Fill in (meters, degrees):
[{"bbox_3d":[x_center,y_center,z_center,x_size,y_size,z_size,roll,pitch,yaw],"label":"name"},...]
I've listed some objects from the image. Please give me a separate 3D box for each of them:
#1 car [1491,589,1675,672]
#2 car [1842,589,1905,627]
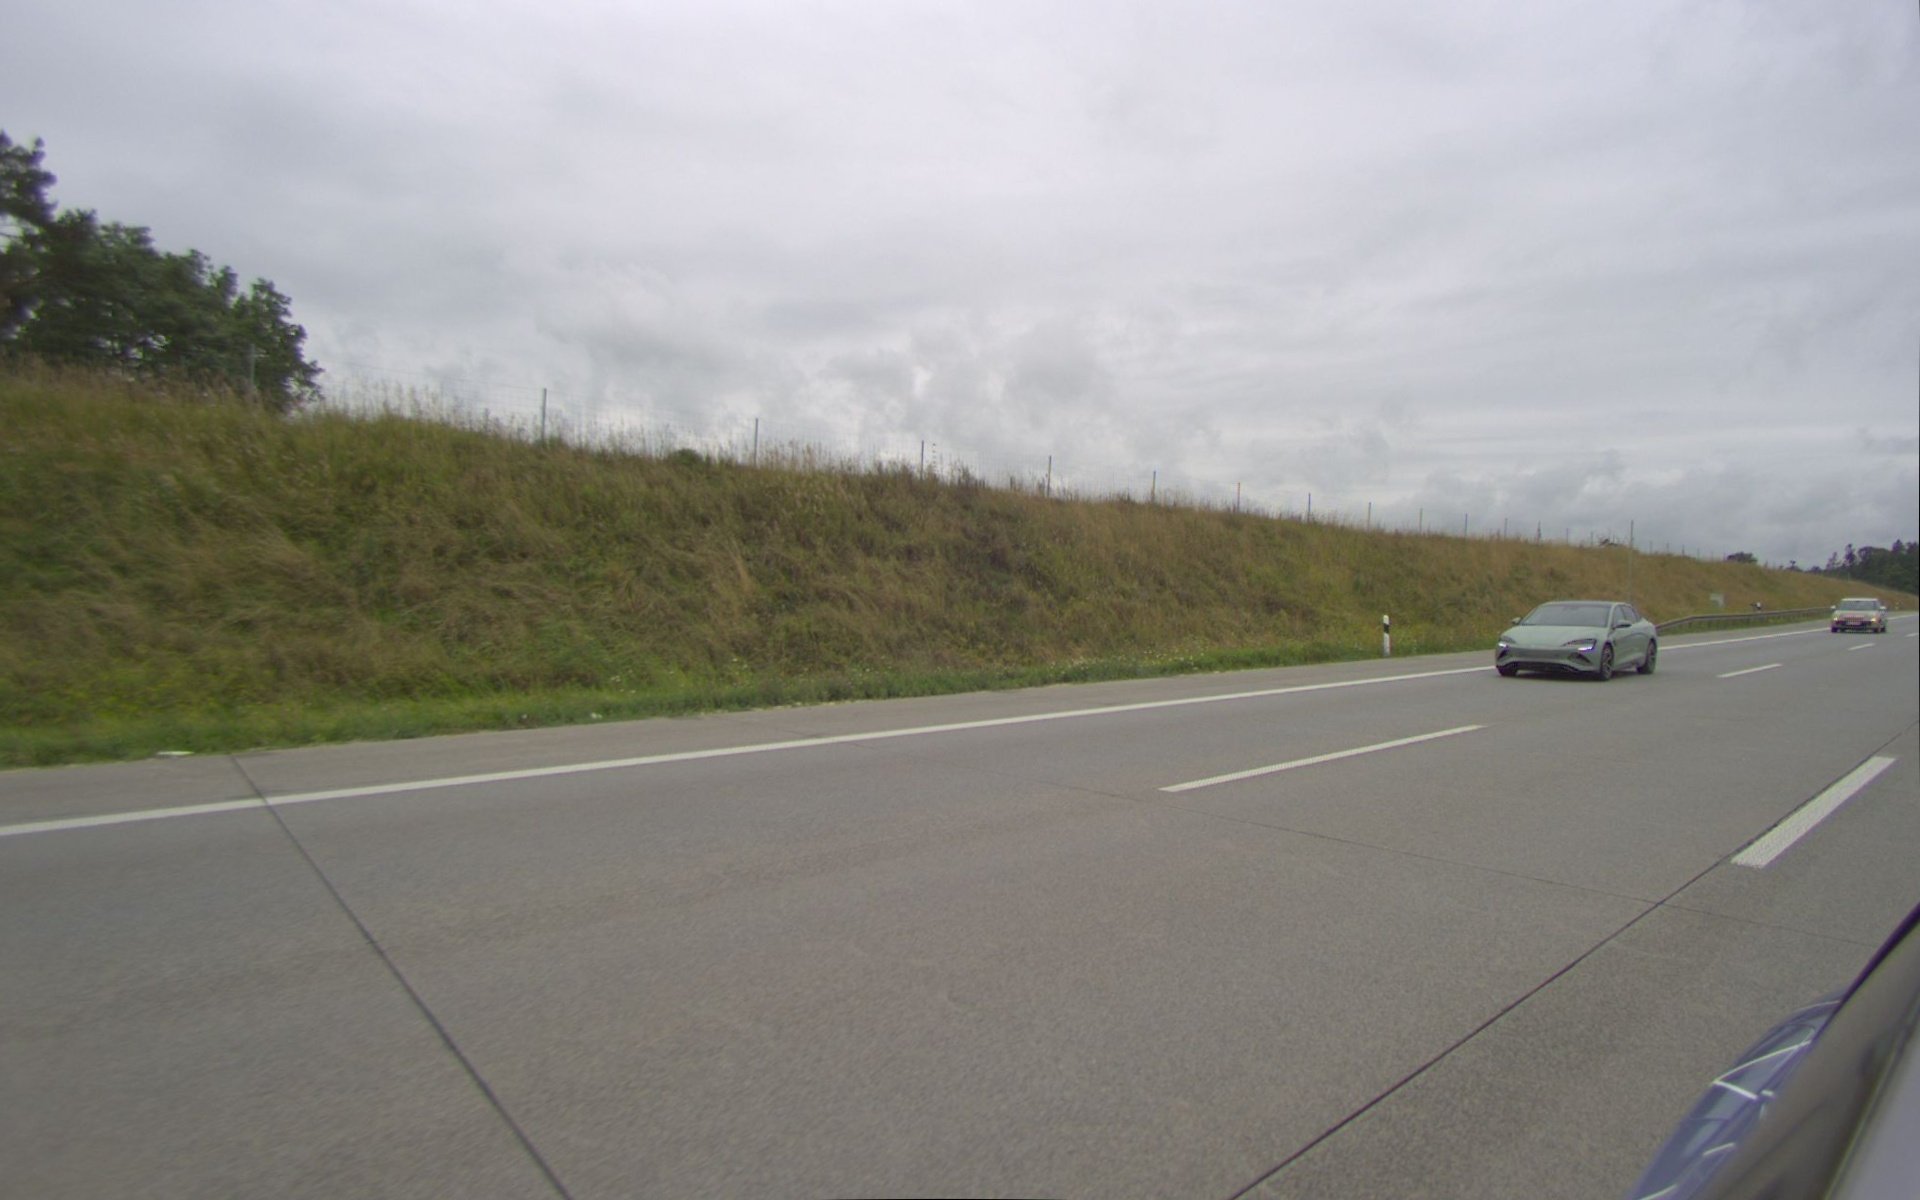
[{"bbox_3d":[12.516,0.588,20.202,4.665,1.464,2.016,1,-1,-44],"label":"car"},{"bbox_3d":[43.499,0.413,48.147,4.493,1.624,1.788,1,2,-43],"label":"car"}]
